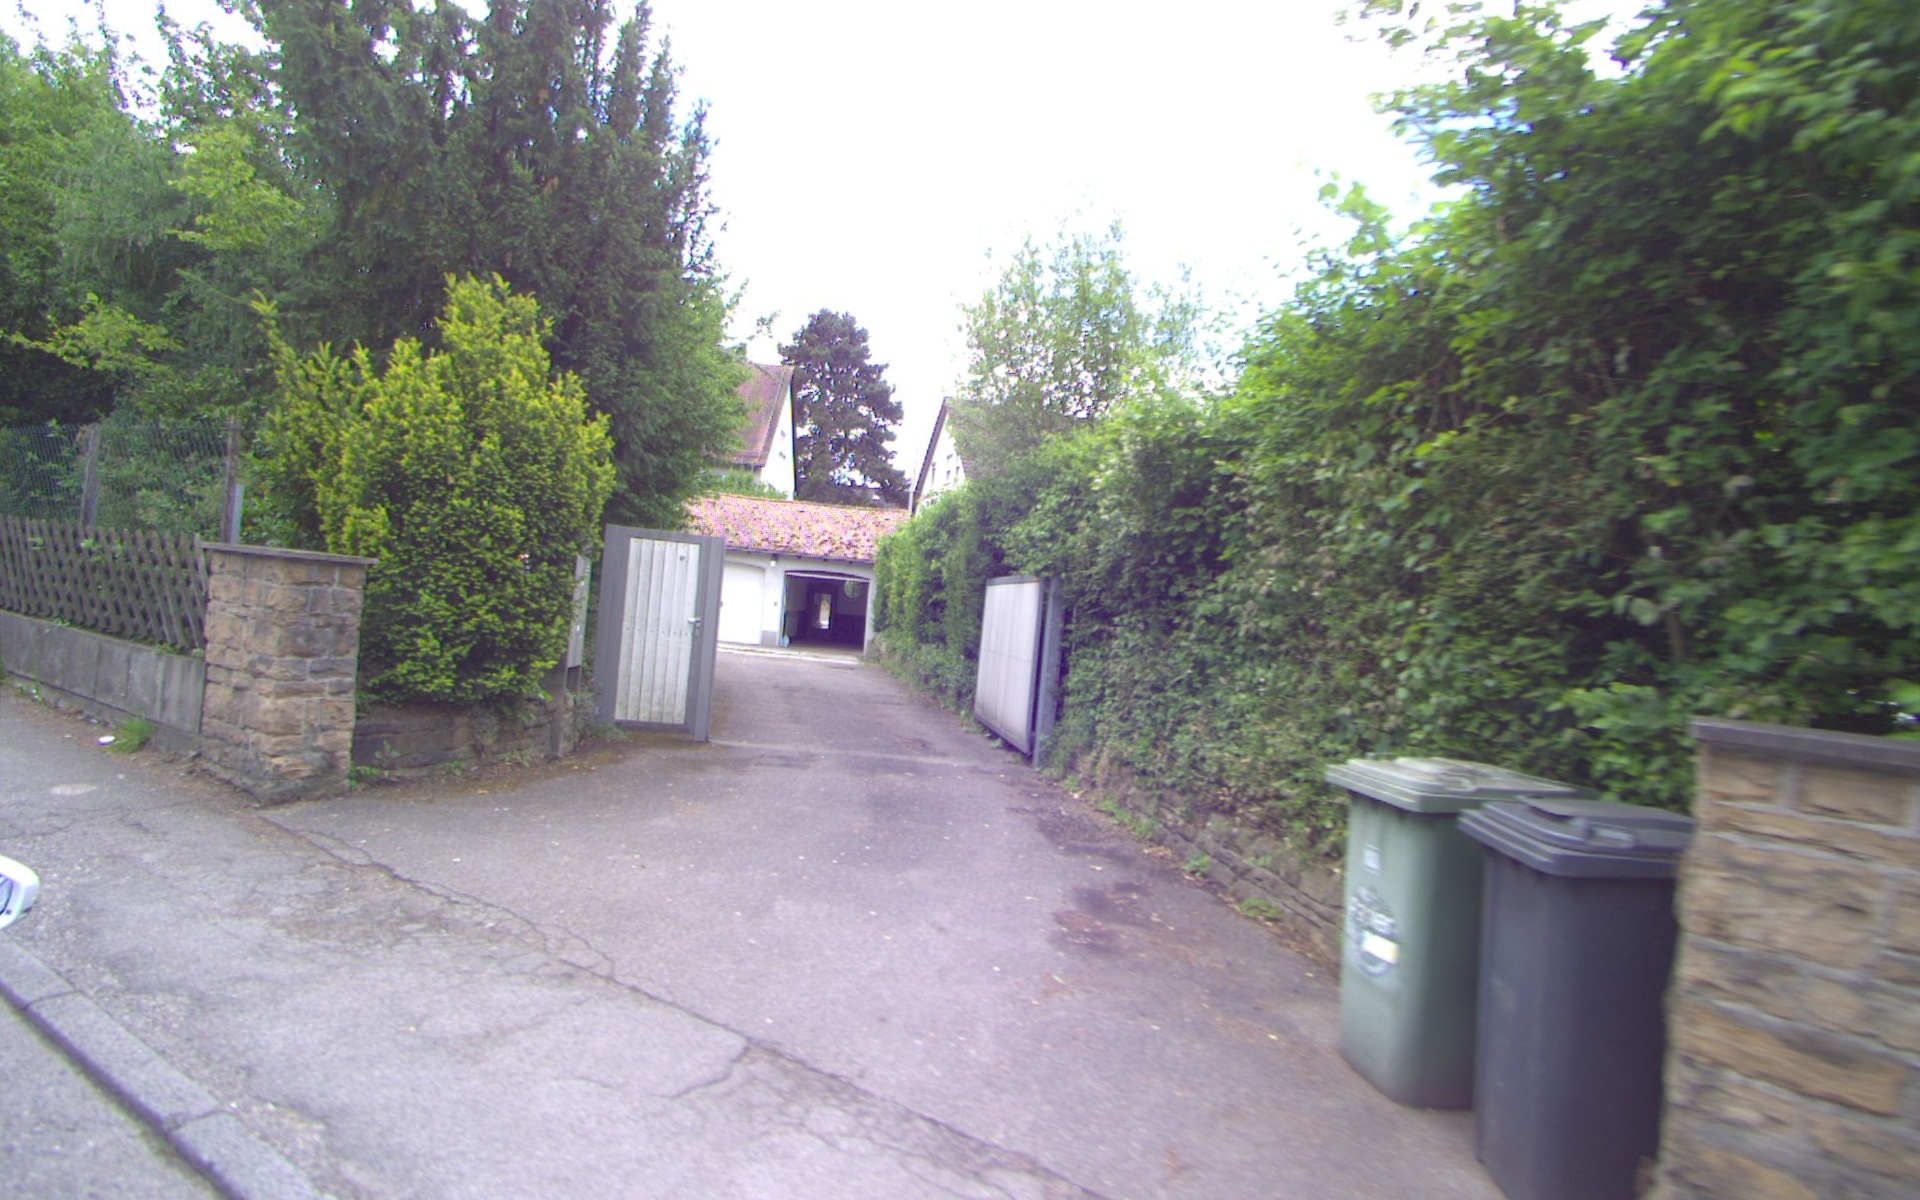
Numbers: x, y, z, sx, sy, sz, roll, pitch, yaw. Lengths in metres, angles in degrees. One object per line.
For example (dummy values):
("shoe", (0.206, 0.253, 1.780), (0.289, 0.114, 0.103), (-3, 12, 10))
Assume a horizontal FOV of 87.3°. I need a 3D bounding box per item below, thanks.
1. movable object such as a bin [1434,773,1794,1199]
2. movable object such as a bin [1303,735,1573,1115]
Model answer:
("movable object such as a bin", (1.697, 1.069, 2.698), (0.499, 1.059, 0.540), (6, 3, 5))
("movable object such as a bin", (1.579, 1.054, 3.395), (0.500, 1.075, 0.539), (6, 2, -6))
